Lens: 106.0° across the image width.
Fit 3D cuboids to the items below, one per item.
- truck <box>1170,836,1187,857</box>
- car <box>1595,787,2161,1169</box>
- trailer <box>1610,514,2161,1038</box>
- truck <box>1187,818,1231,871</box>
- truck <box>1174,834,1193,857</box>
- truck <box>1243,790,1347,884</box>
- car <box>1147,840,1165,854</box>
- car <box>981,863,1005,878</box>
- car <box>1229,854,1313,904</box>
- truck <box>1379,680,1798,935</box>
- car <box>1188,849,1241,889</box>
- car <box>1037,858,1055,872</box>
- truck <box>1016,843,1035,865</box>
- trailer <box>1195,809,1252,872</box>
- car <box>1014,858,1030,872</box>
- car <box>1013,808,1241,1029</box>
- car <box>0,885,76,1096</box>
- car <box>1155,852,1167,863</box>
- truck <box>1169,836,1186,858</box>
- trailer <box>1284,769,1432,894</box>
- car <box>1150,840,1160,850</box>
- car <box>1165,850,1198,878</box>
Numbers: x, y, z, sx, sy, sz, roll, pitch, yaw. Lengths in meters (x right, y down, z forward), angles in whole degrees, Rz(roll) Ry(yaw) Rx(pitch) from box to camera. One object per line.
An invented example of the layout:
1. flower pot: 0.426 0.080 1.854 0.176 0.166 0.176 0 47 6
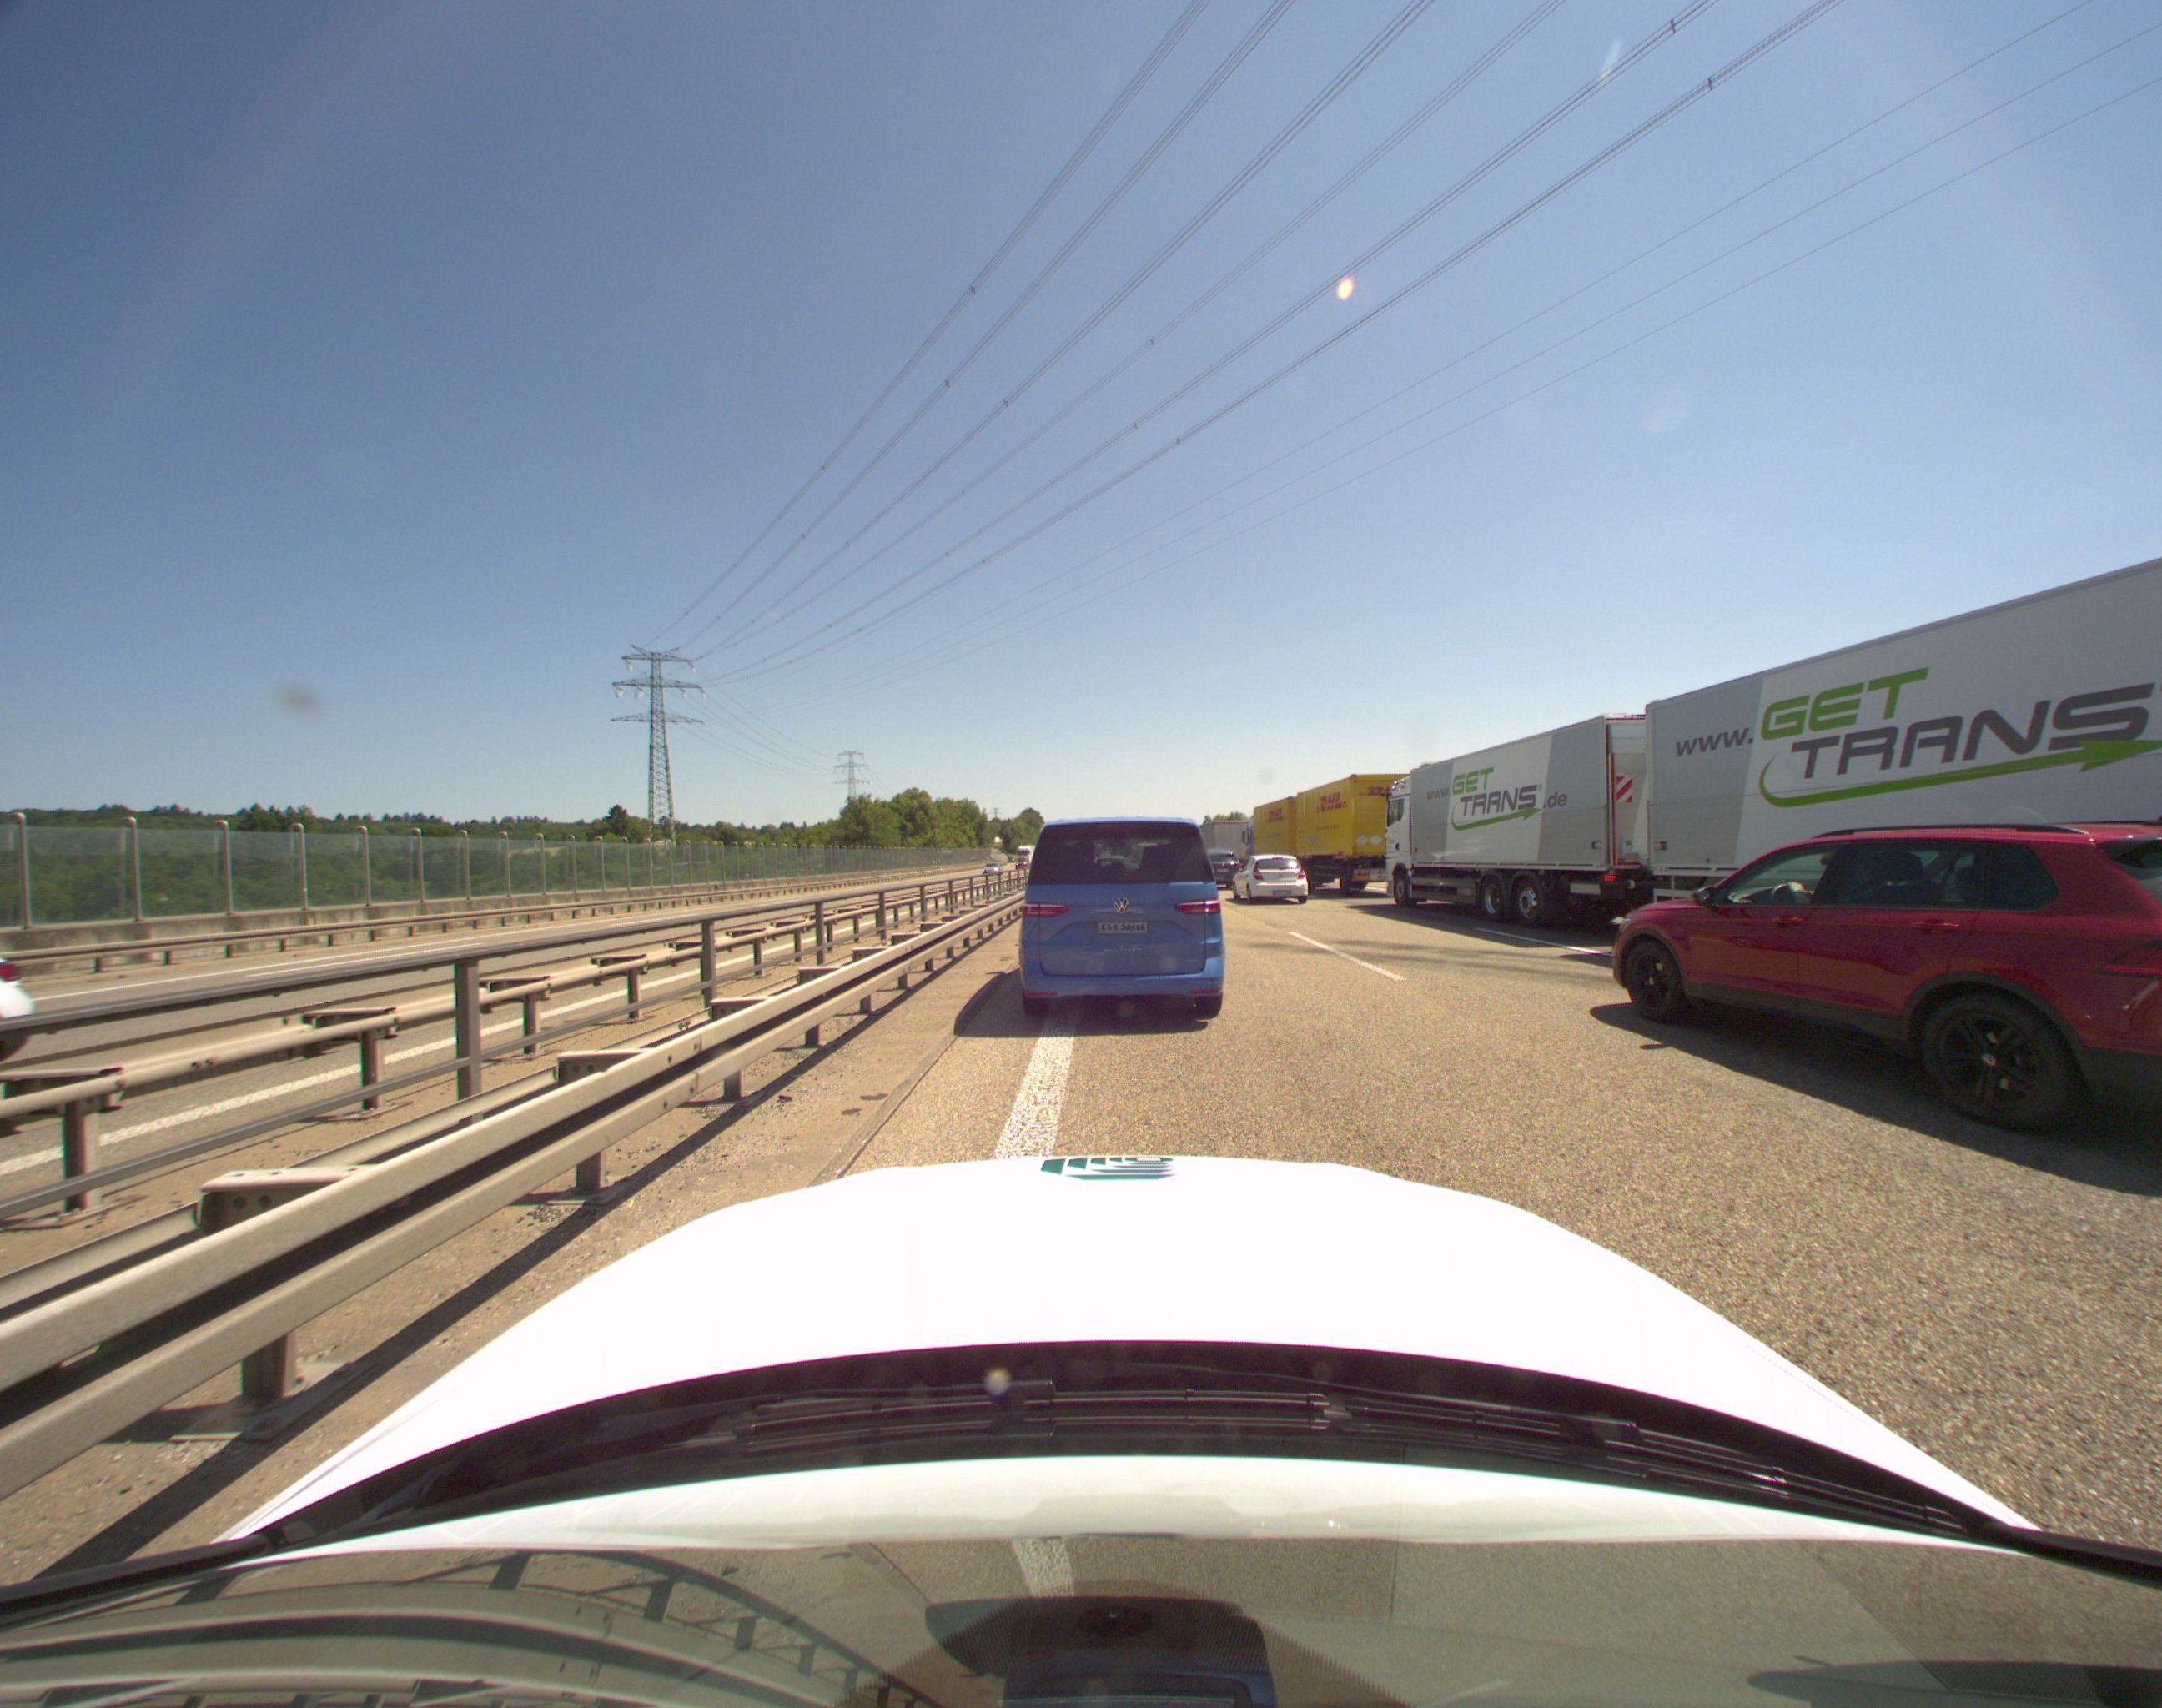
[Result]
1. truck: 12.560 -0.952 104.704 1.790 2.596 4.308 0 -1 2
2. car: 5.679 0.571 5.595 1.702 1.679 4.286 0 -1 2
3. trailer: 9.542 -0.555 8.473 2.888 3.891 8.217 0 -1 2
4. truck: 11.573 -0.783 74.291 3.014 4.611 7.925 0 -1 2
5. truck: 11.373 -0.912 90.495 1.791 2.449 4.506 0 -1 2
6. truck: 10.353 -0.667 40.571 2.690 4.088 9.941 0 -1 1
7. car: 9.274 -0.849 100.755 1.912 1.706 4.002 0 -1 2
8. car: -9.458 1.727 87.540 1.865 1.442 4.386 -3 -1 1
9. car: 5.940 0.757 25.852 1.809 1.470 3.932 0 -1 1
10. truck: 9.803 -0.656 17.932 2.841 3.934 10.613 0 -1 2
11. car: 5.825 0.645 35.864 1.808 1.679 3.933 0 -1 2
12. car: -4.485 1.439 103.865 1.865 1.530 3.609 -7 -1 1
13. truck: -11.409 -0.002 168.049 2.917 4.293 6.862 -4 -1 3
14. trailer: 11.164 -0.907 64.864 3.014 4.611 10.931 0 -1 2
15. car: -8.561 1.599 118.890 1.833 1.822 4.748 -2 -1 1
16. car: 0.463 0.574 8.931 1.923 1.874 4.002 0 -1 2
17. car: -9.415 1.112 4.850 1.800 1.640 4.000 -4 -1 1
18. car: 13.463 0.618 137.641 1.790 1.751 3.945 0 -1 2
19. truck: 11.701 -0.810 99.331 1.735 2.549 4.212 0 -1 2
20. trailer: 10.210 -0.676 31.210 2.673 4.088 8.981 0 -1 1
21. car: 13.974 -1.692 154.276 1.790 1.751 3.945 0 -1 2
22. car: 7.019 0.714 57.303 1.955 1.936 3.934 0 -1 2
